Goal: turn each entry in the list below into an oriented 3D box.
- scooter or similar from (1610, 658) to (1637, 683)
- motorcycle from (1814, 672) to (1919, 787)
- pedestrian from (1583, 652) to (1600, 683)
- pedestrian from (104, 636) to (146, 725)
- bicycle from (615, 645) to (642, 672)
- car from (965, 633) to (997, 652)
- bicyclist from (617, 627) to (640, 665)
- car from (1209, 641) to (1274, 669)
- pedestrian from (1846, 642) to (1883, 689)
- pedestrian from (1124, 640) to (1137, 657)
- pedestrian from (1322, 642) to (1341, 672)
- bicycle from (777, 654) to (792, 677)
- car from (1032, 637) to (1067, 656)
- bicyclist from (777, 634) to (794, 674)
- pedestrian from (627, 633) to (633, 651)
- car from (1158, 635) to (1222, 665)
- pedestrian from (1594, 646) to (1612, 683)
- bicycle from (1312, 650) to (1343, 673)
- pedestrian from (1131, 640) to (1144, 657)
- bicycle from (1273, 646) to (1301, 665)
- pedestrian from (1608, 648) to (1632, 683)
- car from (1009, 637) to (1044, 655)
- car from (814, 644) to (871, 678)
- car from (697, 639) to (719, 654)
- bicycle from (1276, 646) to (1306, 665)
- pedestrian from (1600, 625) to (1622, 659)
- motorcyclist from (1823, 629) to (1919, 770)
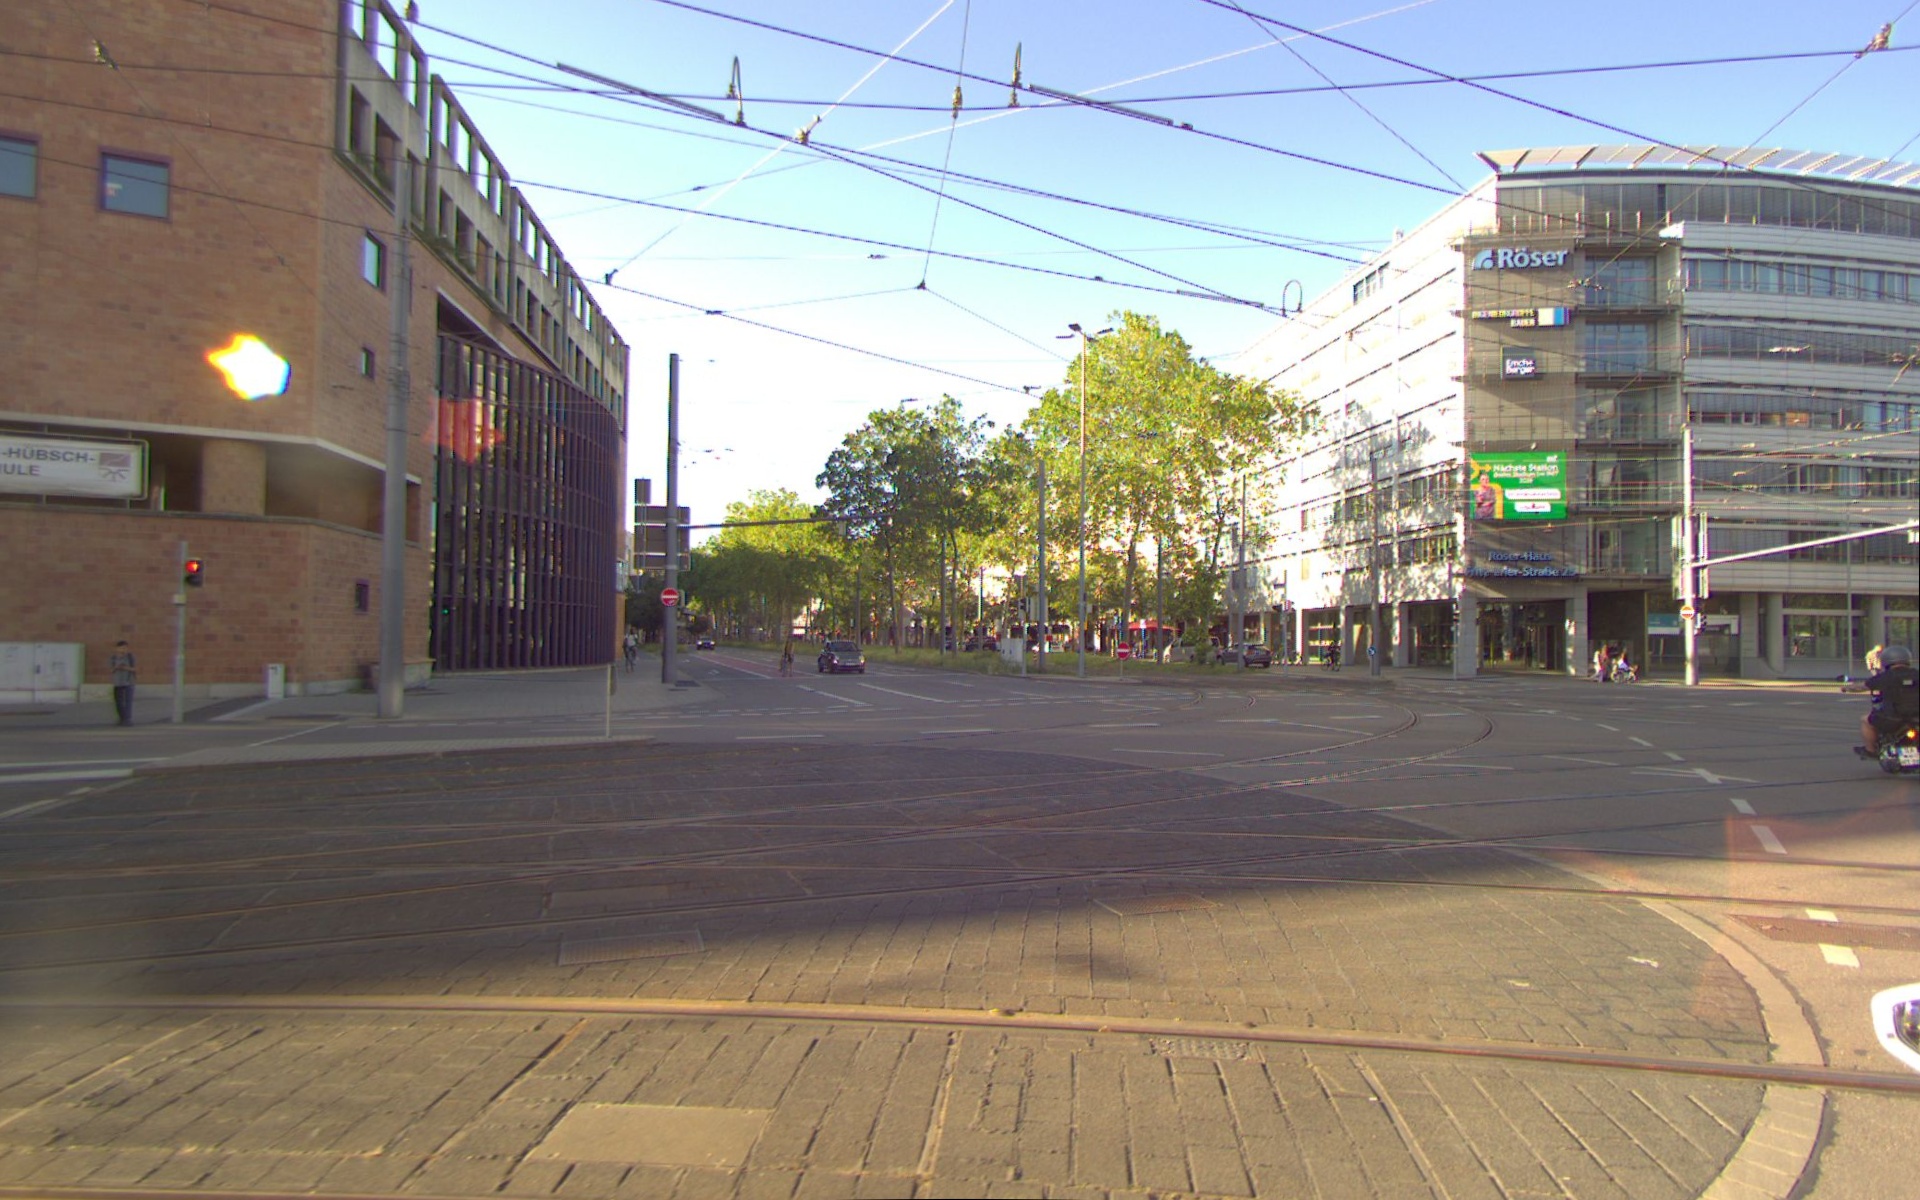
[{"bbox_3d":[30.880,3.277,46.746,1.003,1.144,0.547,-1,-2,41],"label":"scooter or similar"},{"bbox_3d":[11.126,1.505,11.981,0.991,1.140,2.319,1,-1,29],"label":"motorcycle"},{"bbox_3d":[29.428,3.147,46.821,0.629,1.420,0.544,0,-2,40],"label":"pedestrian"},{"bbox_3d":[-15.881,1.514,19.106,0.499,1.638,0.505,2,-1,-31],"label":"pedestrian"},{"bbox_3d":[-14.287,2.495,43.292,0.605,1.093,1.919,1,-2,-4],"label":"bicycle"},{"bbox_3d":[2.217,4.516,106.856,2.005,2.003,4.396,0,-2,-20],"label":"car"},{"bbox_3d":[-14.276,1.980,43.294,0.673,1.611,0.927,1,-2,-4],"label":"bicyclist"},{"bbox_3d":[17.431,3.405,62.491,1.835,1.593,4.401,-1,-1,-16],"label":"car"},{"bbox_3d":[36.613,2.656,40.671,0.666,1.847,0.883,2,-3,-15],"label":"pedestrian"},{"bbox_3d":[16.361,4.612,96.251,0.858,1.567,0.991,1,-2,-13],"label":"pedestrian"},{"bbox_3d":[20.831,3.214,56.389,0.597,1.633,0.834,-2,0,-17],"label":"pedestrian"},{"bbox_3d":[-7.432,2.754,42.590,0.527,0.925,1.568,1,-2,-7],"label":"bicycle"},{"bbox_3d":[8.036,4.135,90.332,1.835,1.659,3.856,1,-2,-16],"label":"car"},{"bbox_3d":[-7.367,2.275,42.451,0.612,1.643,0.814,1,-2,-7],"label":"bicyclist"},{"bbox_3d":[-26.814,3.384,81.612,0.385,1.435,0.457,1,-1,-12],"label":"pedestrian"},{"bbox_3d":[15.478,3.360,67.841,1.898,1.868,4.904,-1,-1,-19],"label":"car"},{"bbox_3d":[30.282,3.029,47.305,0.629,1.731,0.579,0,-2,40],"label":"pedestrian"},{"bbox_3d":[20.602,3.460,56.391,0.603,1.179,1.840,-2,0,-18],"label":"bicycle"},{"bbox_3d":[16.764,4.602,94.986,0.859,1.567,0.990,2,-2,-16],"label":"pedestrian"},{"bbox_3d":[21.285,3.594,65.396,1.807,1.167,0.469,0,-1,-14],"label":"bicycle"},{"bbox_3d":[31.461,3.105,47.884,0.643,1.638,0.722,1,-2,-12],"label":"pedestrian"},{"bbox_3d":[6.319,4.329,95.707,1.963,1.650,4.068,0,-2,-20],"label":"car"},{"bbox_3d":[-5.447,2.783,46.220,1.632,1.346,3.603,2,-1,-22],"label":"car"},{"bbox_3d":[-29.387,5.368,117.154,1.802,1.582,4.318,2,-1,-22],"label":"car"},{"bbox_3d":[21.396,3.589,64.932,1.807,1.167,0.469,0,-1,-14],"label":"bicycle"},{"bbox_3d":[33.707,2.194,52.013,0.677,1.737,0.645,1,-1,-8],"label":"pedestrian"},{"bbox_3d":[11.110,1.153,11.970,1.007,1.573,1.284,1,-1,30],"label":"motorcyclist"}]
